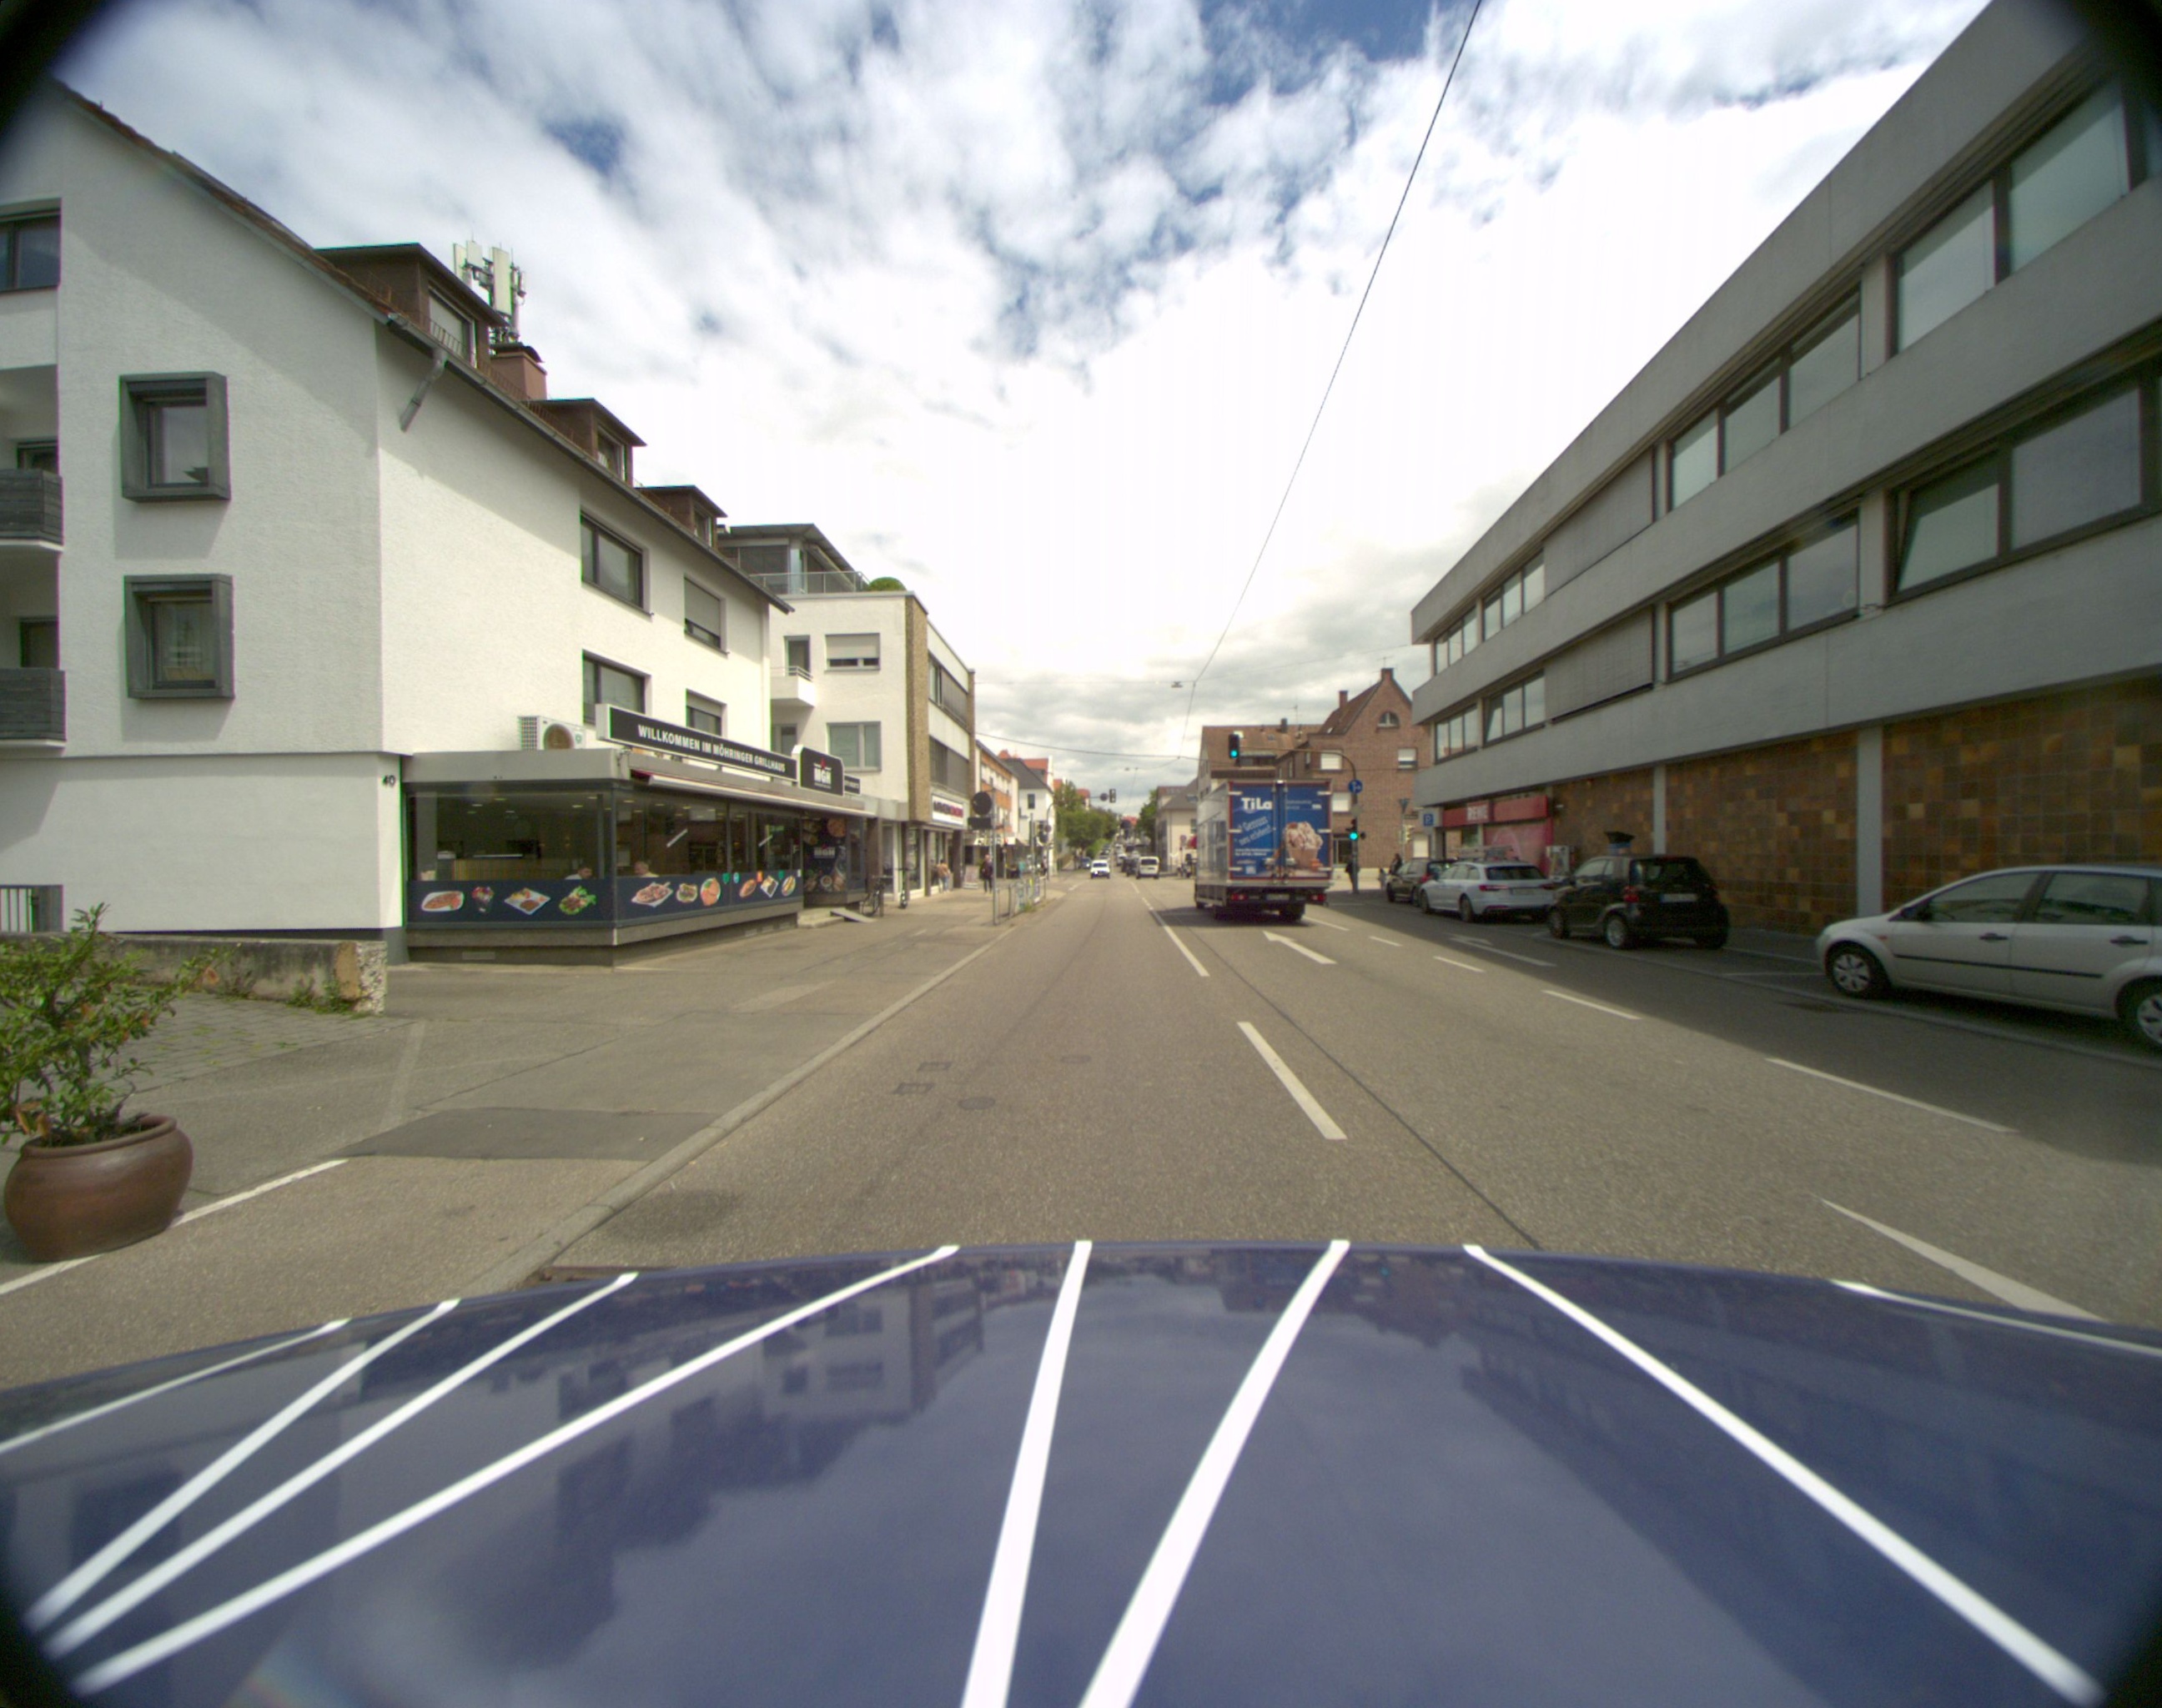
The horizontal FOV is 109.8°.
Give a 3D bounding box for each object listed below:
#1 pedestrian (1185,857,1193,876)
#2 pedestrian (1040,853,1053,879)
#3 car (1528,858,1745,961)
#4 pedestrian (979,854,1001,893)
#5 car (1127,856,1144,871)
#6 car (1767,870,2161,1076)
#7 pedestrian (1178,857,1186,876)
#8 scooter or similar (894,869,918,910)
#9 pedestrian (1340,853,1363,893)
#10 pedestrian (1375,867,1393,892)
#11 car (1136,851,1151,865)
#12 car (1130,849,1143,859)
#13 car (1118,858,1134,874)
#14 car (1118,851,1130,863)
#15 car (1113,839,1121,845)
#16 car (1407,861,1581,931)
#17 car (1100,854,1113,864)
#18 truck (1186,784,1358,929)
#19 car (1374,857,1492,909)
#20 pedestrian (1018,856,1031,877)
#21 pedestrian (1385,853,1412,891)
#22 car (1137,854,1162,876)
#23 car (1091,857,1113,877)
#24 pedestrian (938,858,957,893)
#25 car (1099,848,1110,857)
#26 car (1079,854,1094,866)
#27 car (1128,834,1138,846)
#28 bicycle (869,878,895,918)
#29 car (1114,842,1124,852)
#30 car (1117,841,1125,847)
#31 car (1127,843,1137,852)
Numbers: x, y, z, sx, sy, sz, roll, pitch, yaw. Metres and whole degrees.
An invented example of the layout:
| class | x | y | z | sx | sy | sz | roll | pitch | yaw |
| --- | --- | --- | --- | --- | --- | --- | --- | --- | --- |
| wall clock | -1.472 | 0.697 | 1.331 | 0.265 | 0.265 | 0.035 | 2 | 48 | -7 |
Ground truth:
| class | x | y | z | sx | sy | sz | roll | pitch | yaw |
| --- | --- | --- | --- | --- | --- | --- | --- | --- | --- |
| pedestrian | 9.868 | 1.139 | 69.599 | 0.683 | 1.705 | 0.878 | 0 | 0 | 8 |
| pedestrian | -2.487 | 0.854 | 54.979 | 0.580 | 1.820 | 0.882 | 1 | 1 | 19 |
| car | 9.452 | 0.877 | 13.247 | 1.740 | 1.547 | 3.058 | -2 | 0 | 6 |
| pedestrian | -3.991 | 0.849 | 33.359 | 0.796 | 1.661 | 0.807 | 0 | 0 | 2 |
| car | 5.851 | 0.991 | 81.941 | 1.681 | 1.625 | 2.834 | 0 | 0 | 1 |
| car | 8.914 | 0.915 | 6.925 | 1.726 | 1.413 | 4.149 | -2 | 0 | 4 |
| pedestrian | 9.263 | 1.132 | 69.710 | 0.778 | 1.685 | 0.796 | 0 | 0 | 8 |
| scooter or similar | -5.594 | 1.110 | 24.343 | 0.690 | 1.260 | 1.184 | 0 | 1 | -10 |
| pedestrian | 11.322 | 0.803 | 31.796 | 0.719 | 1.635 | 0.682 | -2 | 0 | 7 |
| pedestrian | 12.720 | 1.068 | 31.900 | 0.560 | 1.050 | 0.663 | -2 | 0 | 8 |
| car | 9.659 | 0.600 | 117.794 | 2.110 | 2.109 | 4.766 | -1 | 0 | 2 |
| car | 10.037 | 0.001 | 136.940 | 2.110 | 1.778 | 4.530 | -1 | 0 | 2 |
| car | 5.771 | 1.540 | 98.095 | 1.953 | 1.866 | 4.877 | 0 | 1 | 1 |
| car | 6.626 | 0.477 | 118.458 | 1.819 | 1.919 | 4.113 | 0 | 0 | 3 |
| car | 10.402 | -3.356 | 217.729 | 2.149 | 1.747 | 3.974 | 0 | 0 | 3 |
| car | 10.036 | 0.943 | 18.991 | 2.048 | 1.435 | 4.954 | -2 | 0 | 6 |
| car | 4.101 | 0.827 | 122.002 | 1.998 | 1.654 | 4.001 | 0 | 0 | 2 |
| truck | 4.606 | 0.065 | 20.172 | 2.860 | 3.074 | 8.090 | 0 | 0 | 2 |
| car | 11.126 | 0.860 | 24.383 | 2.049 | 1.467 | 4.286 | -2 | 0 | 4 |
| pedestrian | -4.011 | 0.882 | 54.199 | 0.779 | 1.517 | 0.819 | 0 | 0 | 5 |
| pedestrian | 13.242 | 0.762 | 31.721 | 0.820 | 1.545 | 0.846 | -2 | 0 | 8 |
| car | 5.763 | 0.935 | 64.319 | 1.950 | 1.810 | 4.279 | 0 | 0 | 2 |
| car | 1.994 | 1.206 | 73.063 | 1.999 | 1.797 | 4.765 | -2 | 0 | 1 |
| pedestrian | -5.870 | 0.939 | 33.552 | 0.681 | 1.490 | 0.720 | 0 | 0 | 2 |
| car | 4.805 | -0.308 | 155.024 | 1.998 | 1.654 | 4.001 | 0 | 0 | 2 |
| car | 0.793 | 0.896 | 108.041 | 1.998 | 1.654 | 4.001 | 0 | 0 | 2 |
| car | 16.037 | -4.379 | 234.538 | 2.428 | 3.408 | 7.638 | 0 | 0 | 1 |
| bicycle | -5.651 | 1.231 | 21.626 | 0.476 | 1.022 | 1.635 | 0 | 0 | -7 |
| car | 7.848 | -1.506 | 158.230 | 1.981 | 1.985 | 5.028 | 0 | 0 | 1 |
| car | 10.431 | -2.545 | 197.728 | 1.858 | 1.414 | 4.193 | 0 | 0 | 1 |
| car | 11.292 | -1.463 | 169.770 | 2.110 | 2.109 | 4.766 | -1 | 0 | 2 |
